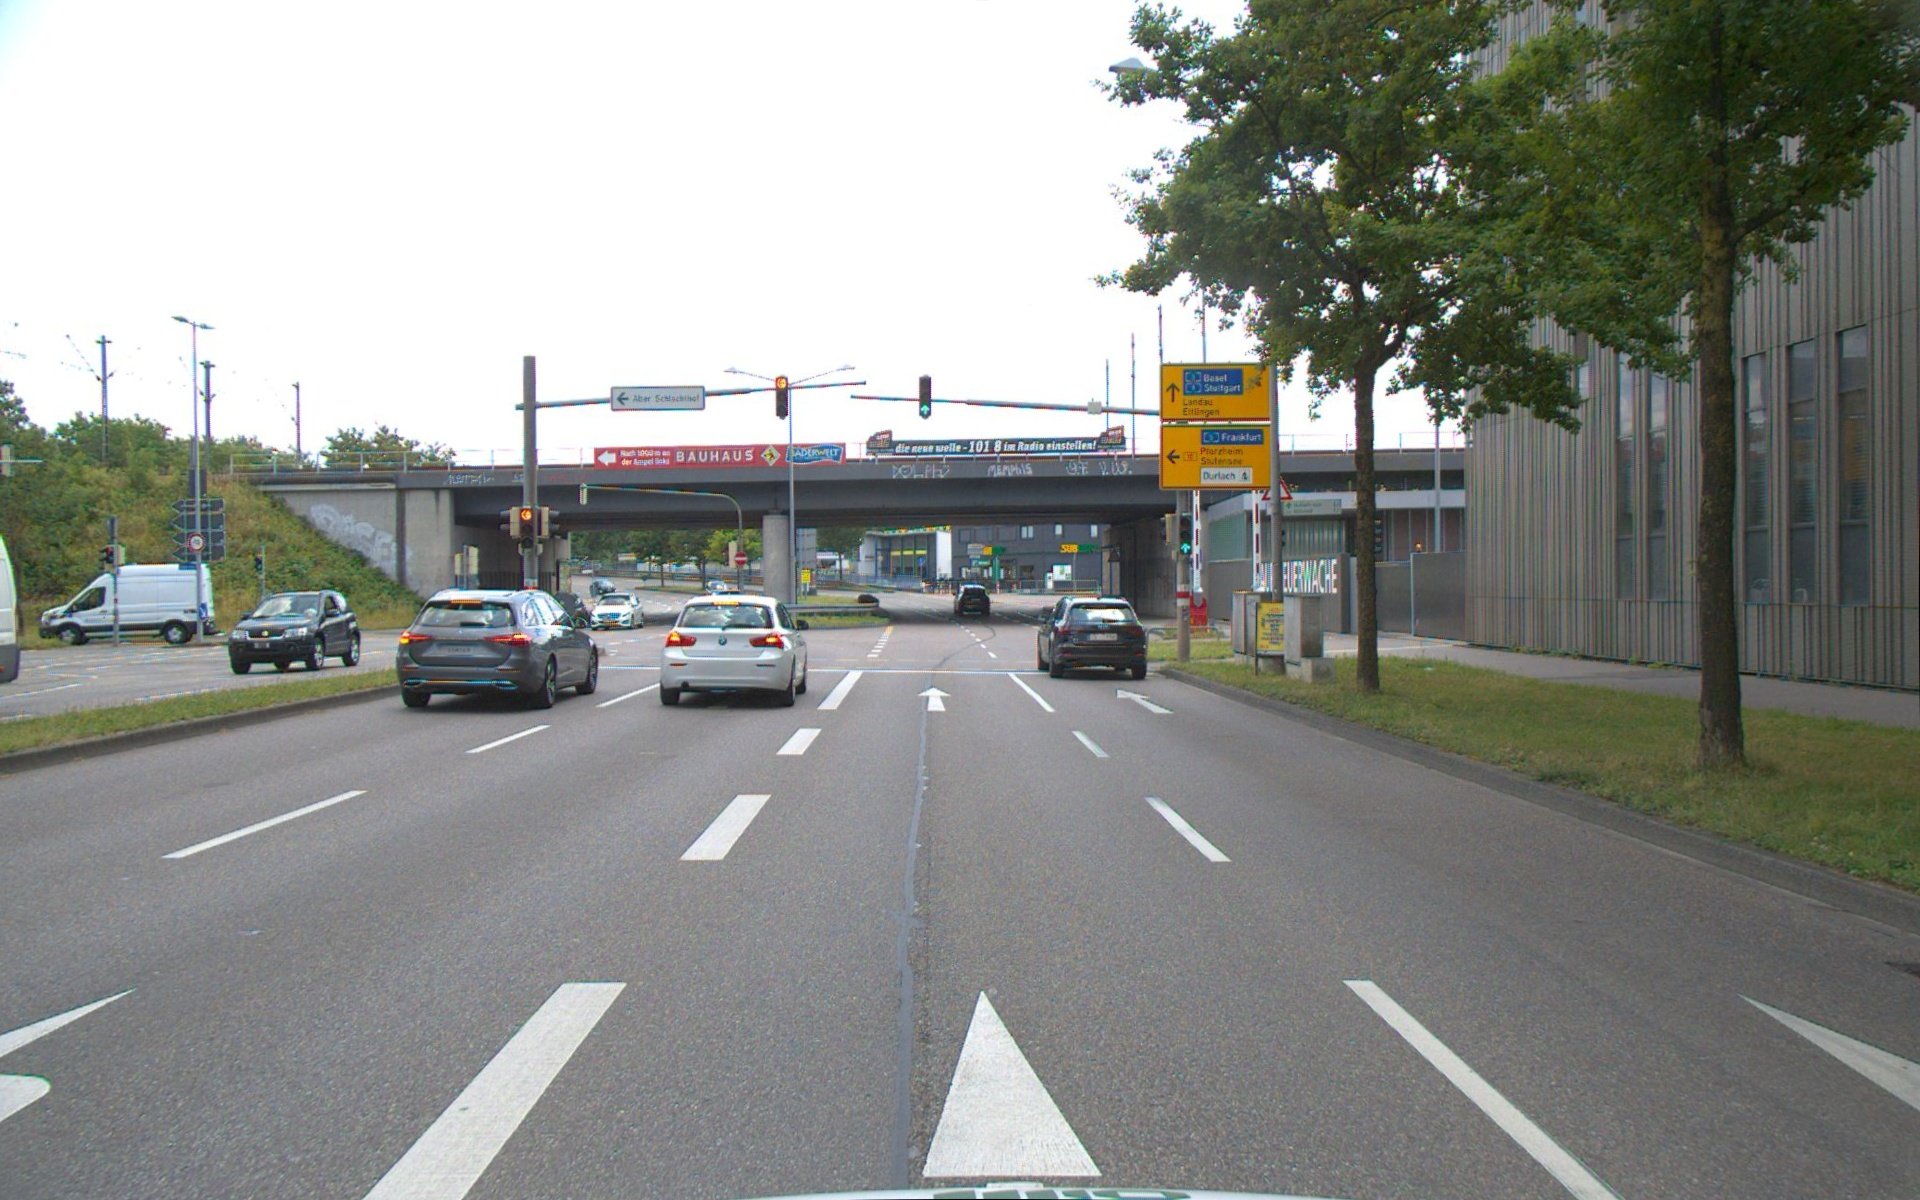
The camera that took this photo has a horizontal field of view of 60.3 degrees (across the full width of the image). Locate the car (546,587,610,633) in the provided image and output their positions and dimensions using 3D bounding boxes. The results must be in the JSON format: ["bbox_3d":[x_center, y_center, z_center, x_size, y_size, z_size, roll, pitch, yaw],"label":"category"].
[{"bbox_3d":[-17.793,0.421,77.201,1.952,2.049,4.001,-1,0,1],"label":"car"}]

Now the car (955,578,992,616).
[{"bbox_3d":[0.749,-0.195,93.932,1.953,2.073,4.712,-1,0,-1],"label":"car"}]

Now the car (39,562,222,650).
[{"bbox_3d":[-28.780,0.187,57.595,5.315,2.871,2.375,-1,0,-18],"label":"car"}]

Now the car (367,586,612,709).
[{"bbox_3d":[-6.054,0.542,21.917,1.953,1.440,4.831,0,1,-1],"label":"car"}]

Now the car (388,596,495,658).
[{"bbox_3d":[-15.441,0.773,49.482,1.887,1.555,3.999,6,0,-1],"label":"car"}]

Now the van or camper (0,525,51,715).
[{"bbox_3d":[-14.091,0.290,20.213,2.304,2.584,7.061,0,0,-2],"label":"van or camper"}]

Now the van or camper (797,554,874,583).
[{"bbox_3d":[-10.002,-2.533,133.222,6.185,2.211,2.097,0,0,-39],"label":"van or camper"}]

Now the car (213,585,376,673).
[{"bbox_3d":[-14.496,0.589,36.287,1.953,1.797,4.218,-1,0,-2],"label":"car"}]

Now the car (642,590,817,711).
[{"bbox_3d":[-3.082,0.620,22.930,1.876,1.439,4.294,2,0,-1],"label":"car"}]

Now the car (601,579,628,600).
[{"bbox_3d":[-34.170,-1.080,163.711,1.954,2.049,4.334,-1,1,-3],"label":"car"}]

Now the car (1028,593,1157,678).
[{"bbox_3d":[2.416,0.611,31.276,1.953,1.414,4.575,0,1,-1],"label":"car"}]

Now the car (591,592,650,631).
[{"bbox_3d":[-15.017,0.476,73.270,1.769,1.660,4.391,-1,0,-1],"label":"car"}]
